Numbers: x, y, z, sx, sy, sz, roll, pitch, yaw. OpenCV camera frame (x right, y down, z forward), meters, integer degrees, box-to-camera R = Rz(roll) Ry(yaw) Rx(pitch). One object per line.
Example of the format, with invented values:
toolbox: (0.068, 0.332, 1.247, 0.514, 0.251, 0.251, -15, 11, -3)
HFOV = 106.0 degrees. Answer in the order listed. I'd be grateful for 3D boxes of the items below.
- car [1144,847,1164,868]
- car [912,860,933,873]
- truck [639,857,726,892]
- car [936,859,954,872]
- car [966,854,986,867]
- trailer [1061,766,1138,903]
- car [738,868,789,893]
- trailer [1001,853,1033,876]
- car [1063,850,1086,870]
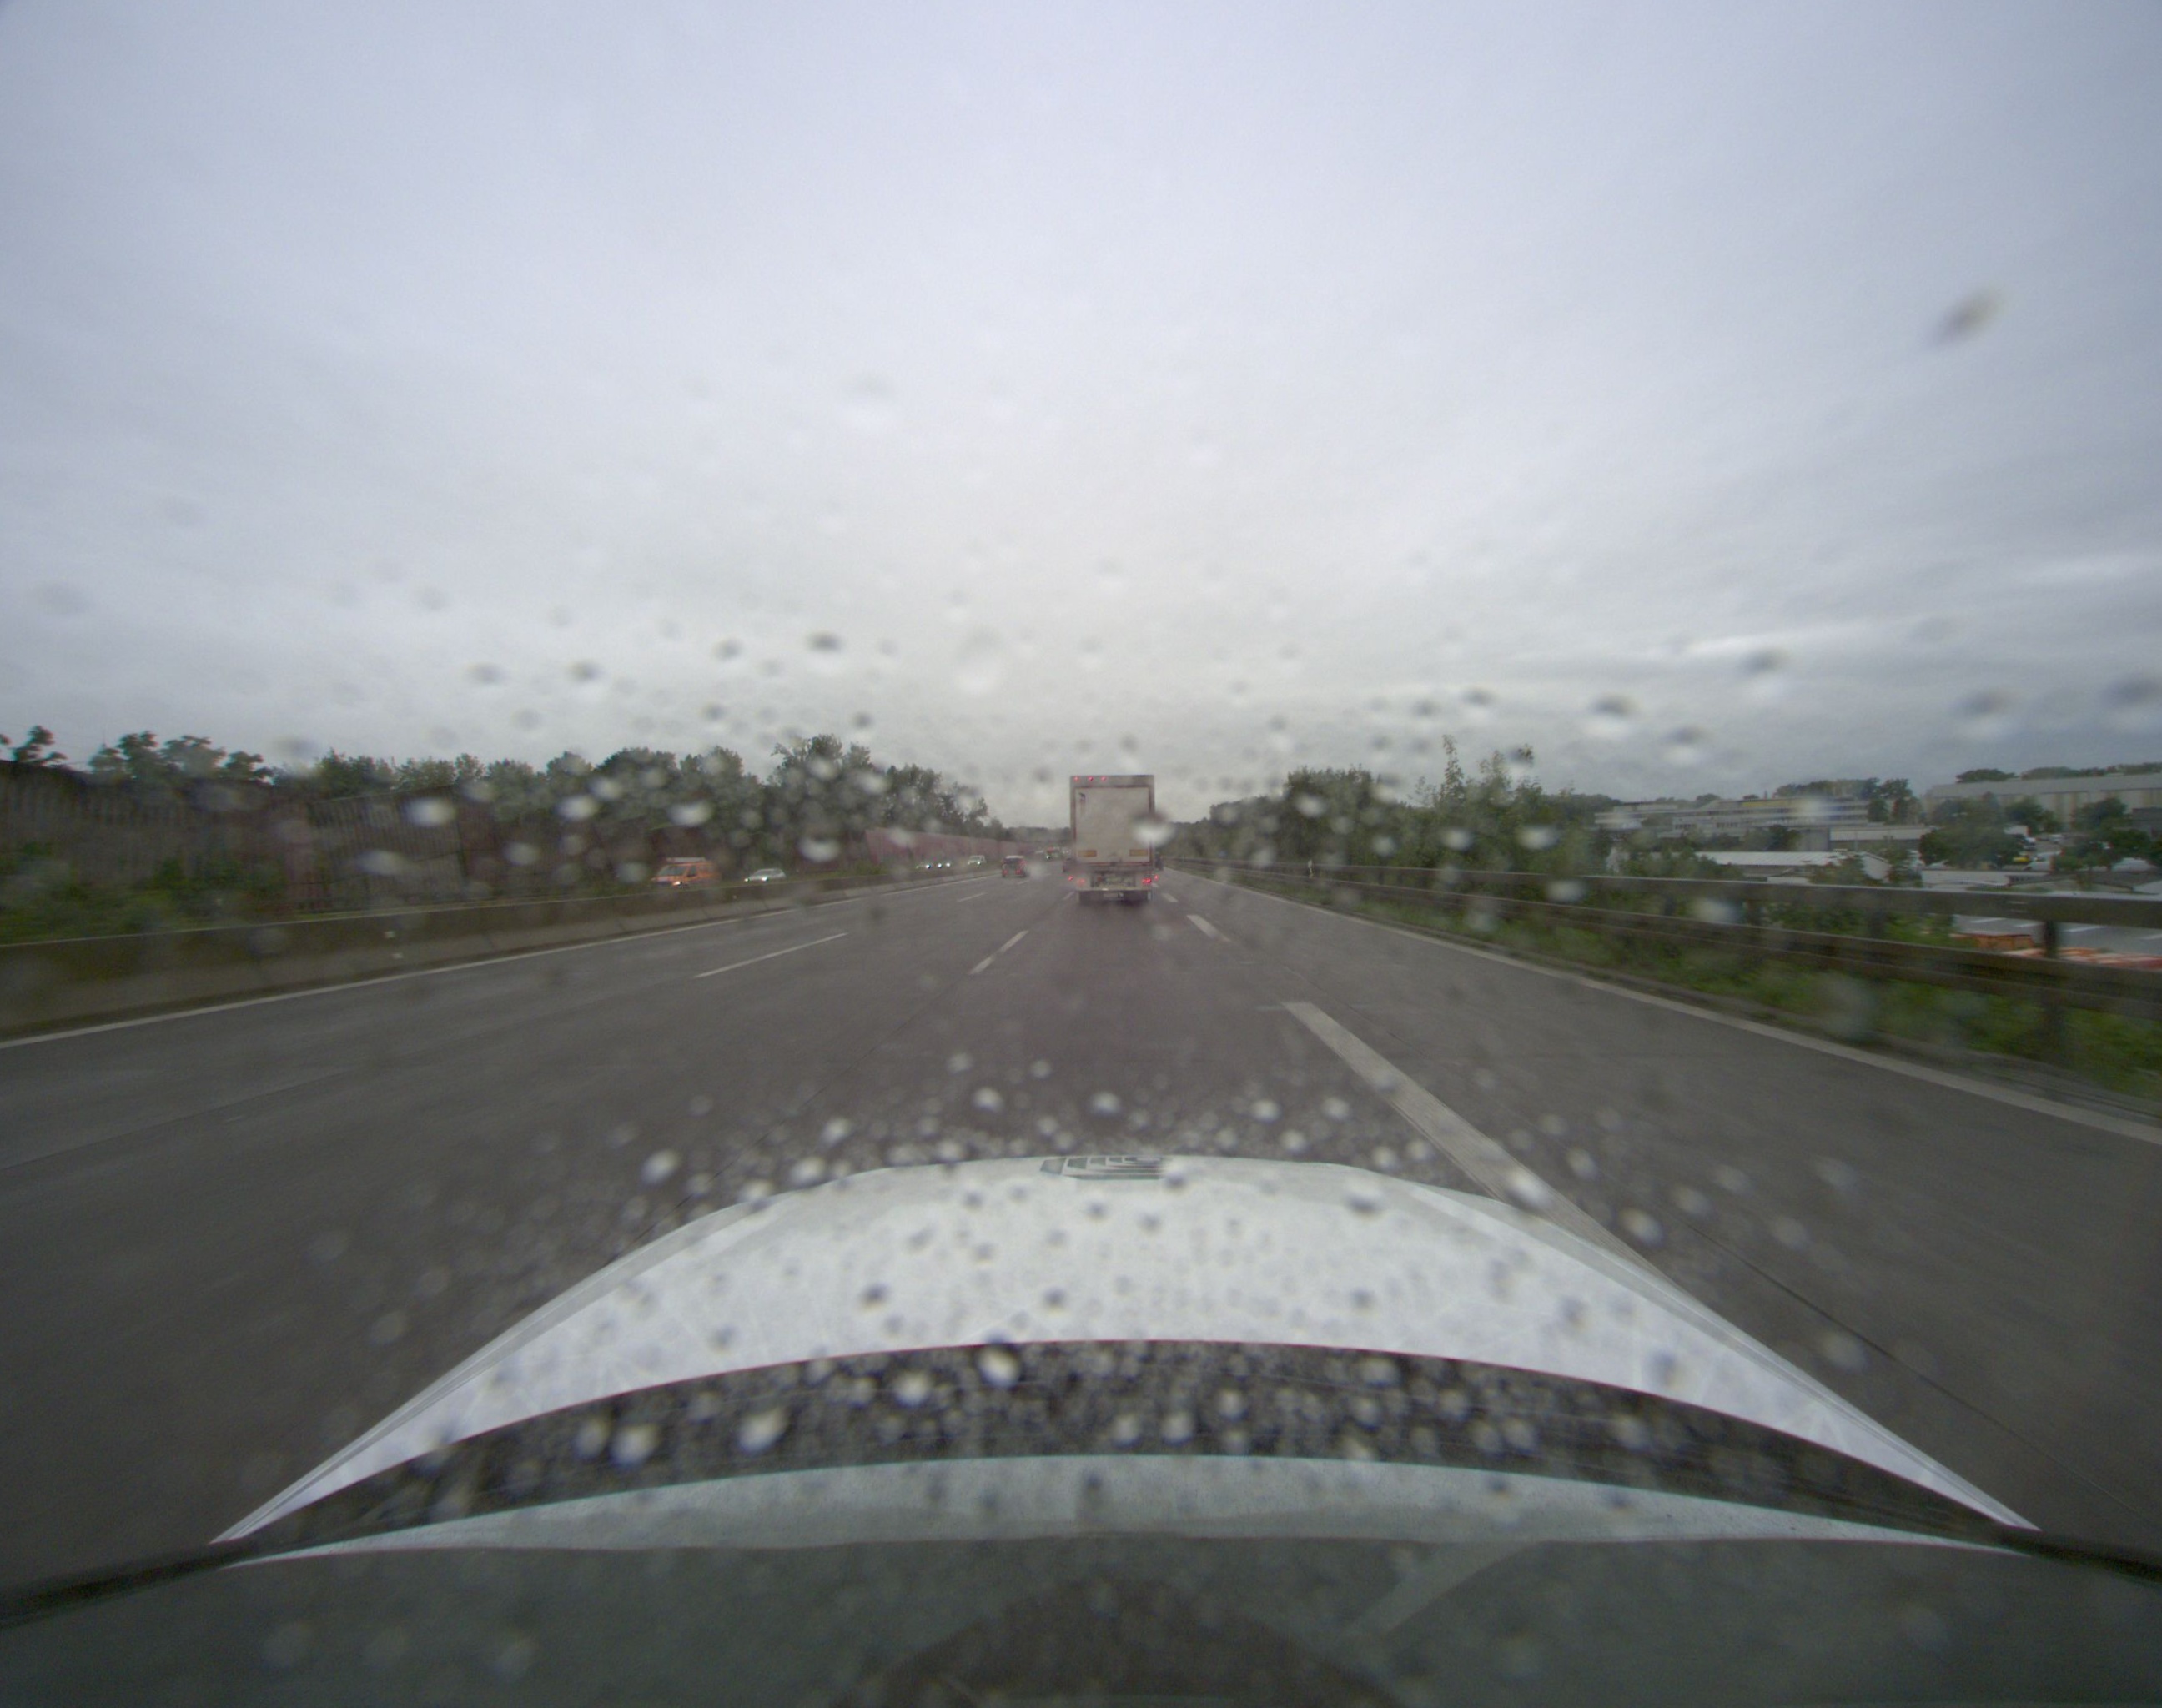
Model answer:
car: (6.999, 0.349, 78.232, 1.889, 1.949, 4.004, 0, 0, 4)
car: (-22.370, 1.730, 115.219, 1.986, 1.784, 4.292, -1, 0, 2)
truck: (-21.305, 1.059, 43.829, 1.985, 1.739, 5.020, -1, 0, 3)
car: (-21.966, 1.826, 131.299, 1.985, 2.013, 4.003, -1, 0, 3)
car: (-15.082, 0.901, 117.024, 1.986, 1.784, 5.212, -1, 0, 2)
trailer: (0.888, -0.593, 32.028, 2.333, 4.157, 14.835, 0, 0, 2)
car: (-24.551, 2.045, 63.185, 1.985, 1.739, 4.401, -1, 0, 3)
trailer: (-4.813, 0.769, 61.559, 1.808, 1.624, 4.571, -1, 0, 2)
car: (-0.563, 0.522, 73.881, 1.886, 1.723, 4.002, 0, 0, 2)
